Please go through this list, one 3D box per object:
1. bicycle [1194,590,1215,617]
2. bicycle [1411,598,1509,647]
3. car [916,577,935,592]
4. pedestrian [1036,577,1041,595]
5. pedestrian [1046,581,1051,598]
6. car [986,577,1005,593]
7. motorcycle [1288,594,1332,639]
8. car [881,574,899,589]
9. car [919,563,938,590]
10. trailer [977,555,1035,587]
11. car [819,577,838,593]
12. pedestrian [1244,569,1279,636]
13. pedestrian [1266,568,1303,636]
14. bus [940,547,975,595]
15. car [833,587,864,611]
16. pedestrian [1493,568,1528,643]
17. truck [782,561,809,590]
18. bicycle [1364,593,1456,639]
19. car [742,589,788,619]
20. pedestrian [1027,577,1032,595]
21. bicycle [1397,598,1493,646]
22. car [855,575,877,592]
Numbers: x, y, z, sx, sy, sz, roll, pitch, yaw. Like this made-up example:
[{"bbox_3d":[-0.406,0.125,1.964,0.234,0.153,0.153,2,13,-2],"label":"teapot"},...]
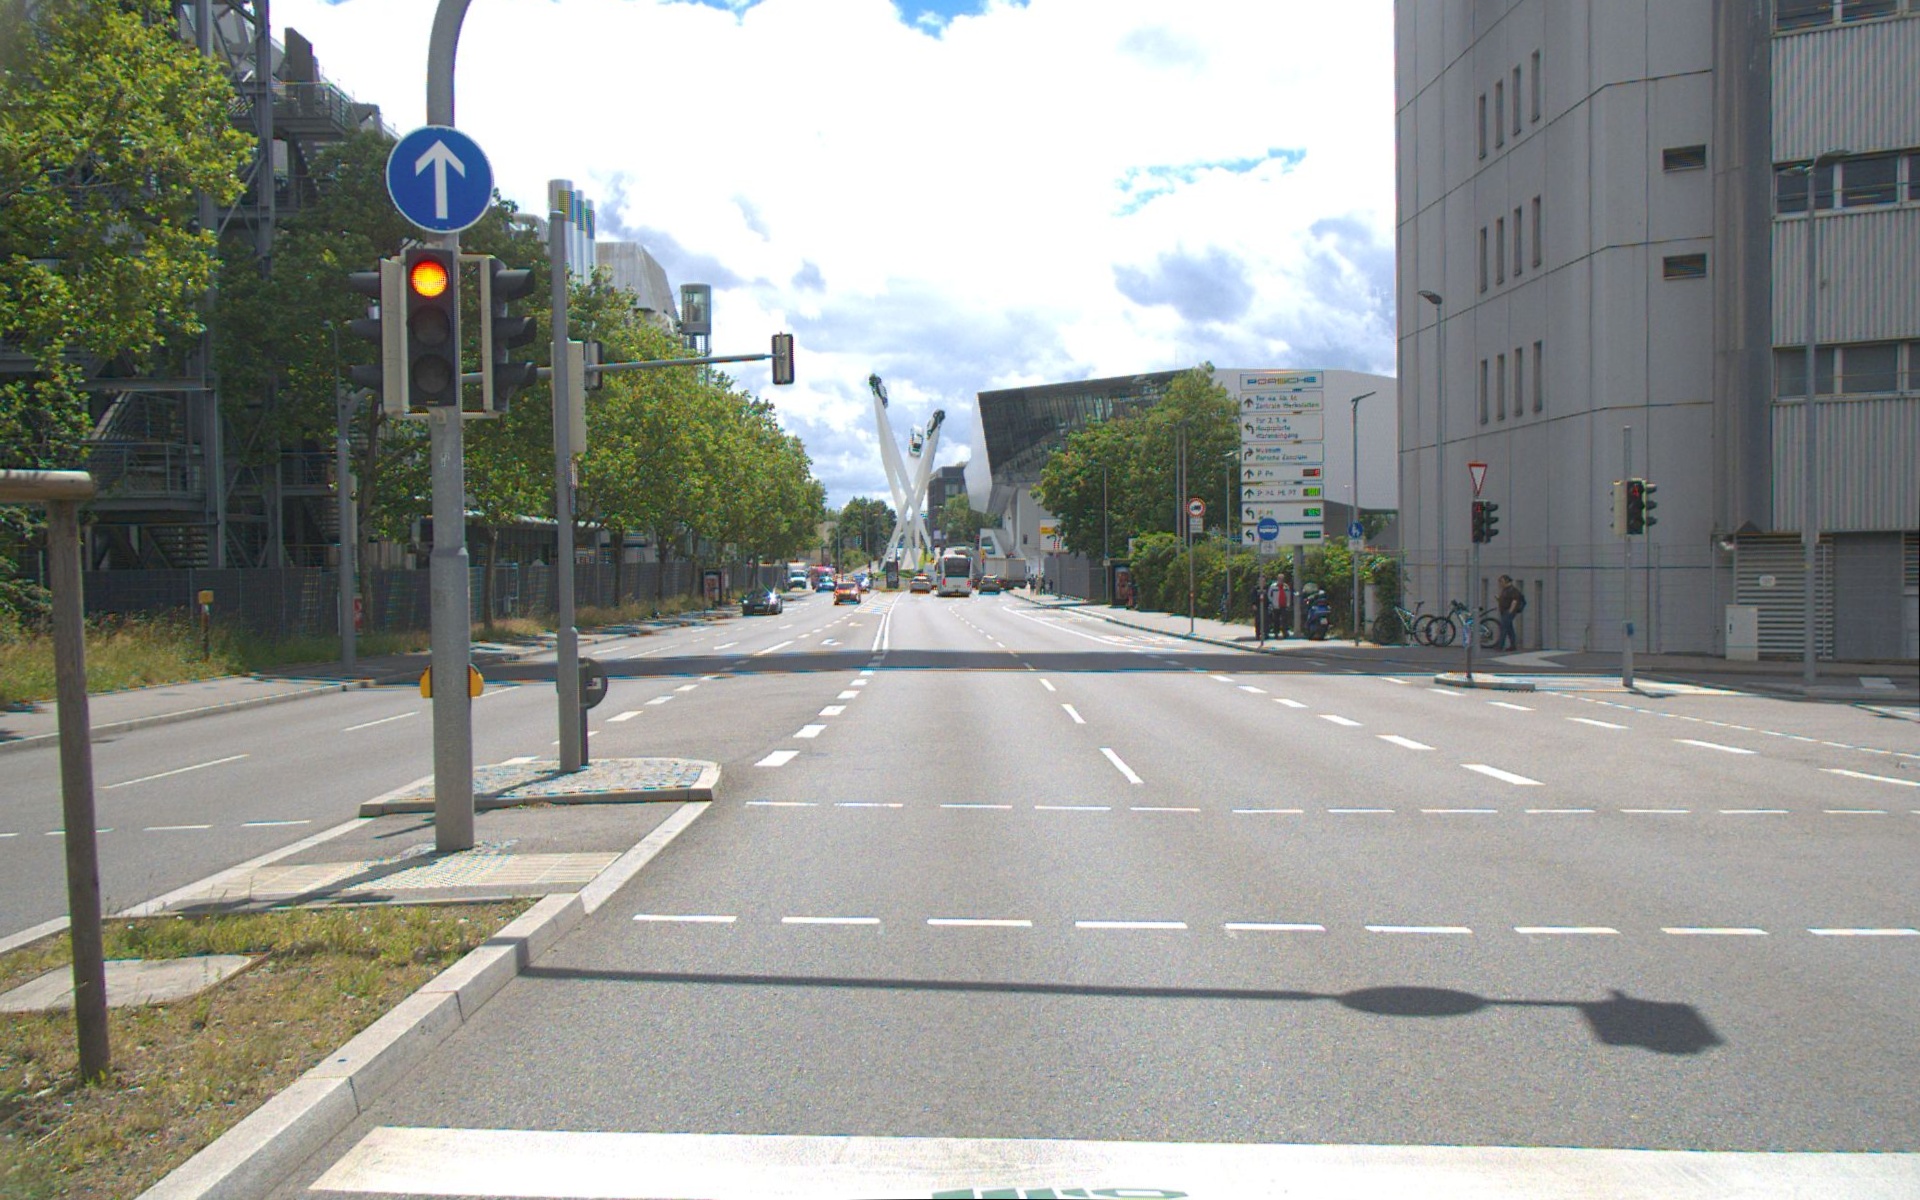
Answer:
[{"bbox_3d":[9.663,0.150,65.406,0.410,1.040,1.910,1,0,-5],"label":"bicycle"},{"bbox_3d":[11.766,0.525,38.954,2.149,1.105,0.475,1,-1,35],"label":"bicycle"},{"bbox_3d":[-3.103,-1.367,148.551,1.525,1.295,3.701,-2,0,1],"label":"car"},{"bbox_3d":[6.575,-1.179,137.748,0.378,1.446,0.423,1,-1,0],"label":"pedestrian"},{"bbox_3d":[7.436,-0.886,138.668,0.378,1.446,0.423,1,-1,0],"label":"pedestrian"},{"bbox_3d":[3.127,-1.341,146.237,1.525,1.295,3.701,-2,0,1],"label":"car"},{"bbox_3d":[9.544,0.449,45.159,0.410,1.186,1.951,1,0,-11],"label":"motorcycle"},{"bbox_3d":[-6.542,-1.720,155.175,1.525,1.295,3.701,-2,0,0],"label":"car"},{"bbox_3d":[-3.260,-2.450,171.380,1.807,2.669,3.998,1,0,-3],"label":"car"},{"bbox_3d":[4.873,-3.014,172.239,3.250,3.047,10.380,1,0,18],"label":"trailer"},{"bbox_3d":[-13.531,-1.565,170.685,1.761,1.601,3.998,0,0,-2],"label":"car"},{"bbox_3d":[8.368,0.076,45.954,0.631,1.825,0.709,-3,1,-16],"label":"pedestrian"},{"bbox_3d":[9.027,0.052,46.047,0.680,1.825,0.709,-3,1,-16],"label":"pedestrian"},{"bbox_3d":[-0.185,-2.349,137.021,2.730,3.750,6.942,1,0,0],"label":"bus"},{"bbox_3d":[-7.389,-0.065,109.497,1.733,1.445,3.701,-2,0,0],"label":"car"},{"bbox_3d":[12.406,0.125,37.266,0.643,1.669,0.534,1,-1,27],"label":"pedestrian"},{"bbox_3d":[-20.238,-2.959,203.820,2.538,3.382,7.078,1,0,0],"label":"truck"},{"bbox_3d":[11.150,0.383,41.030,2.180,1.105,0.475,1,-1,35],"label":"bicycle"},{"bbox_3d":[-10.671,0.182,90.749,1.878,1.514,4.772,-2,0,0],"label":"car"},{"bbox_3d":[5.829,-1.150,138.091,0.378,1.446,0.423,1,-1,0],"label":"pedestrian"},{"bbox_3d":[11.636,0.526,39.705,2.180,1.105,0.475,1,-1,35],"label":"bicycle"},{"bbox_3d":[-8.642,-1.542,152.610,1.733,1.445,3.701,-2,0,0],"label":"car"}]
